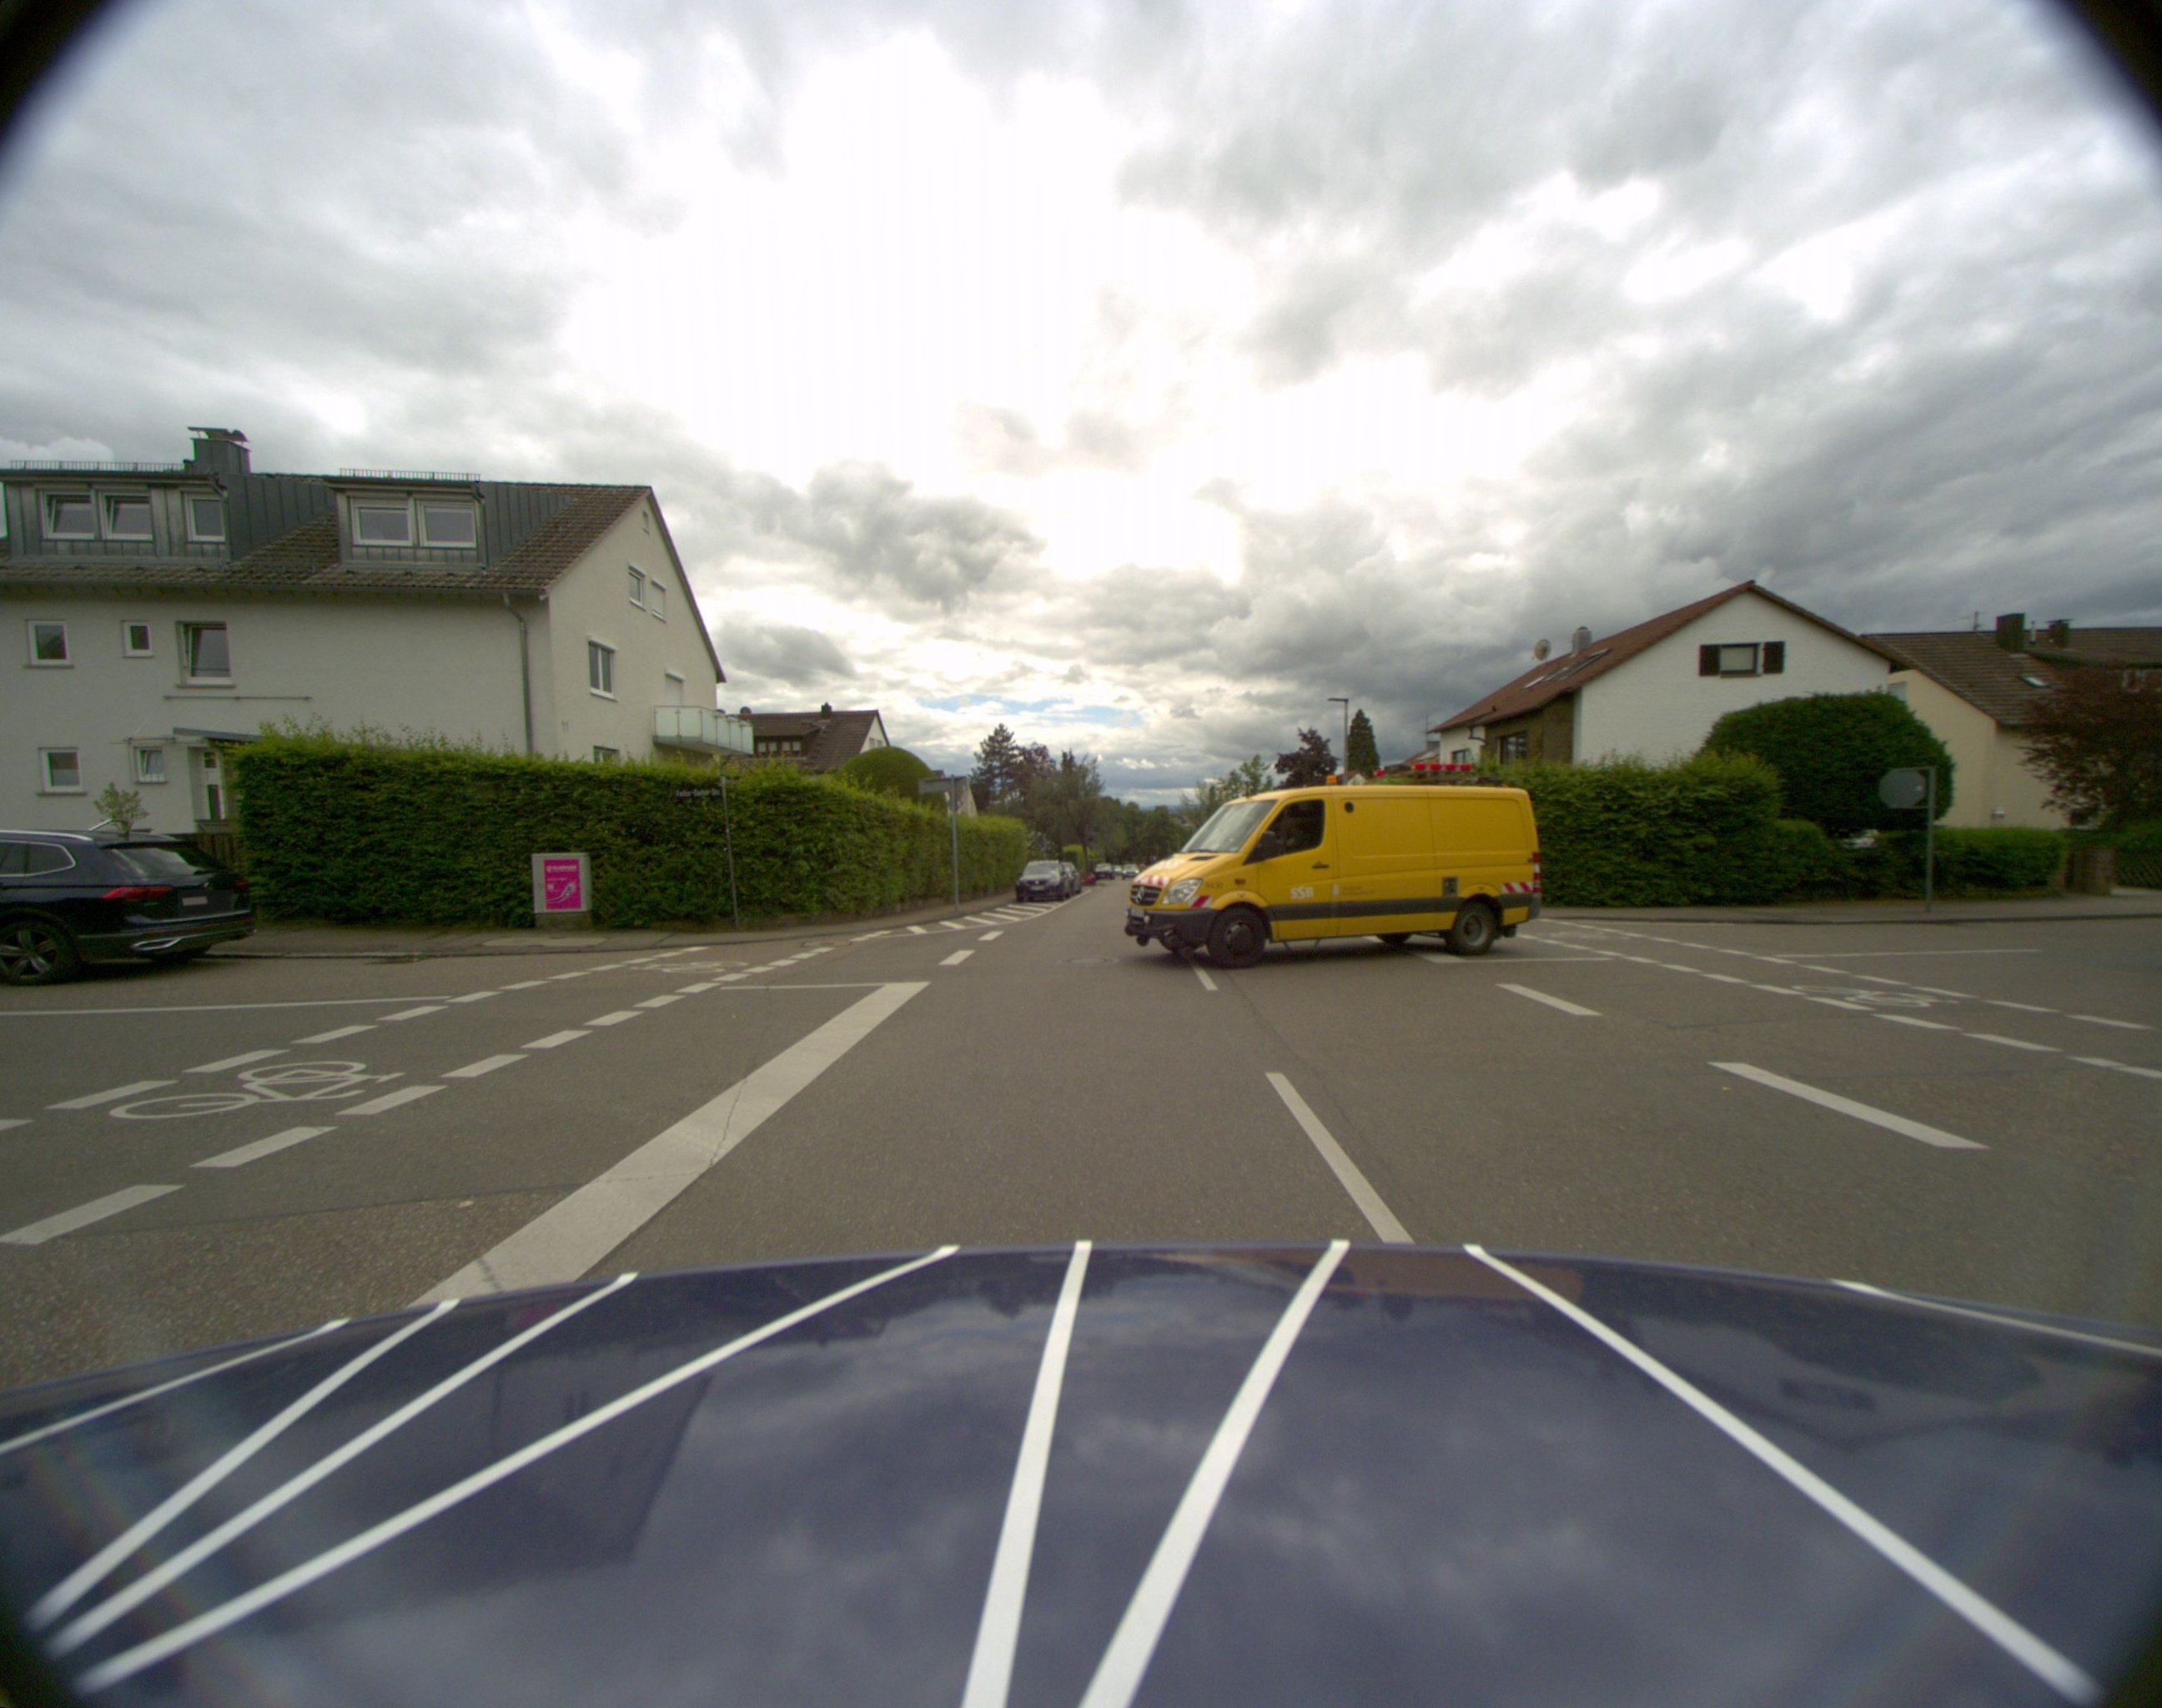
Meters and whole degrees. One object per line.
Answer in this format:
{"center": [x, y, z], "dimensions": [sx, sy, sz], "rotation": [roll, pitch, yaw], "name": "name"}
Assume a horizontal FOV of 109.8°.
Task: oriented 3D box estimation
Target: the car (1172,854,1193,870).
{"center": [11.144, 0.836, 83.775], "dimensions": [1.935, 1.521, 4.000], "rotation": [-4, 1, 5], "name": "car"}

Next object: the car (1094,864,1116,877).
{"center": [2.438, 1.627, 76.078], "dimensions": [1.998, 1.221, 4.001], "rotation": [-1, 0, 4], "name": "car"}

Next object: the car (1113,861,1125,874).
{"center": [6.181, 2.134, 124.312], "dimensions": [1.746, 2.002, 4.002], "rotation": [-3, 0, 5], "name": "car"}

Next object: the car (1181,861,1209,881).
{"center": [9.093, 1.303, 60.734], "dimensions": [1.944, 1.540, 4.007], "rotation": [0, -1, 4], "name": "car"}

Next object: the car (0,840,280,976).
{"center": [-12.697, 0.564, 8.665], "dimensions": [4.521, 1.426, 1.998], "rotation": [1, -1, -13], "name": "car"}

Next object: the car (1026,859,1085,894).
{"center": [-1.069, 0.981, 34.553], "dimensions": [1.927, 1.485, 5.211], "rotation": [0, -1, 7], "name": "car"}

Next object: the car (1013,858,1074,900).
{"center": [-1.358, 0.912, 29.127], "dimensions": [1.794, 1.479, 4.381], "rotation": [0, -1, 4], "name": "car"}

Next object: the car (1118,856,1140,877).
{"center": [4.753, 1.264, 75.585], "dimensions": [1.998, 2.001, 4.001], "rotation": [-2, -1, 2], "name": "car"}

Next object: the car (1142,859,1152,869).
{"center": [13.231, 2.016, 153.297], "dimensions": [1.871, 2.002, 4.001], "rotation": [-3, 0, 4], "name": "car"}

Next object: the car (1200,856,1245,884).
{"center": [7.626, 0.852, 41.287], "dimensions": [1.890, 1.481, 4.344], "rotation": [0, -1, 4], "name": "car"}

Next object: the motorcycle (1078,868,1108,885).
{"center": [0.838, 1.561, 52.579], "dimensions": [1.942, 1.127, 0.658], "rotation": [0, 0, -23], "name": "motorcycle"}

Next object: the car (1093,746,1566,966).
{"center": [3.451, 0.038, 10.875], "dimensions": [6.147, 2.586, 2.365], "rotation": [0, 0, -15], "name": "car"}
